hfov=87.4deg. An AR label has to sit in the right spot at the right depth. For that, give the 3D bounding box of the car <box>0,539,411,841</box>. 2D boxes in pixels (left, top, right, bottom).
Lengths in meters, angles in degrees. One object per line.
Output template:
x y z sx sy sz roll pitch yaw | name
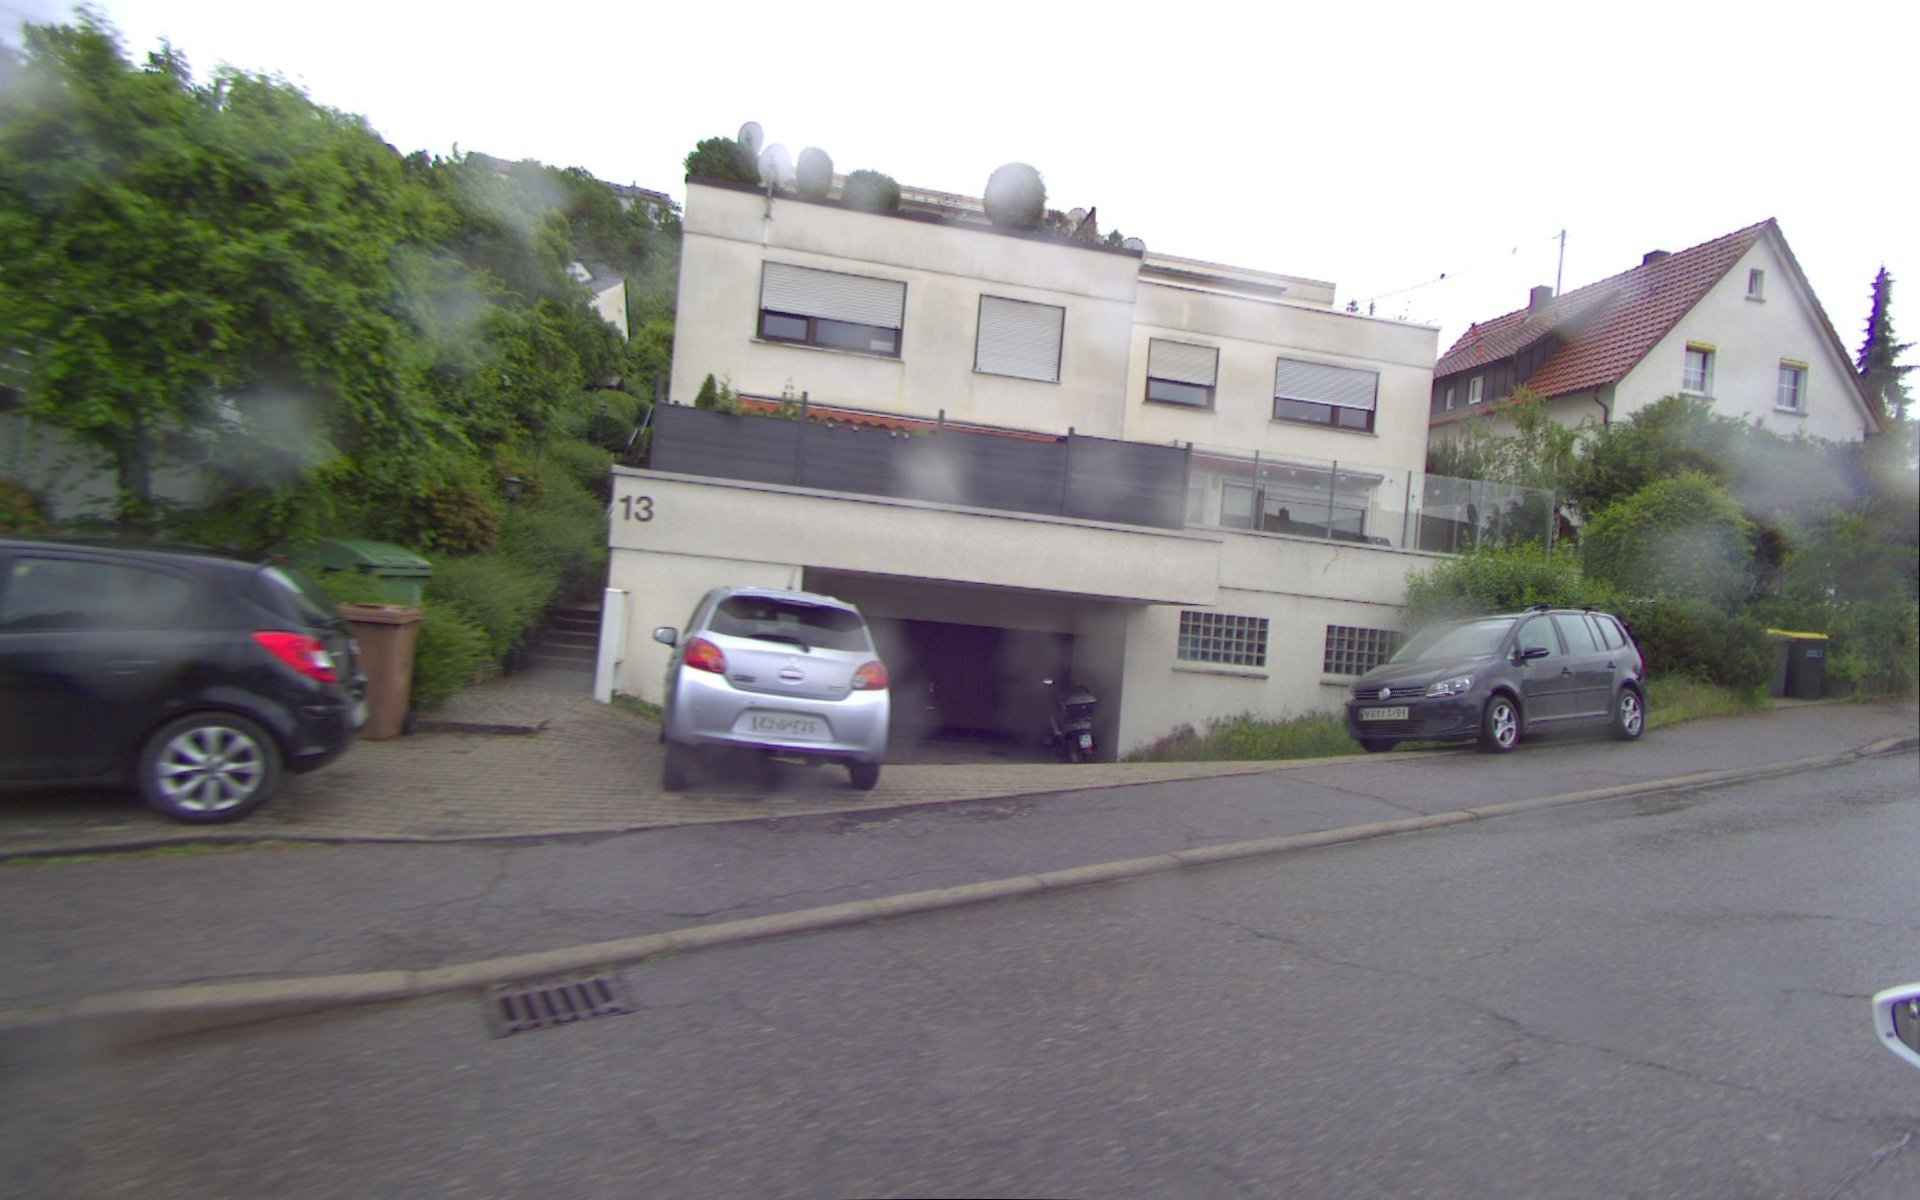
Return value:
-5.419 0.389 5.375 4.190 1.395 1.760 2 3 -25 | car

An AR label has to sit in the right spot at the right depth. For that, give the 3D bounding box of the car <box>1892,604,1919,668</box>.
31.080 1.126 29.498 2.106 1.970 5.086 1 -1 -15 | car

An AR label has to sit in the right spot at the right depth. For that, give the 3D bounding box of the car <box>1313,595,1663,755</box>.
6.426 0.821 12.089 4.369 1.618 1.793 2 -1 -32 | car

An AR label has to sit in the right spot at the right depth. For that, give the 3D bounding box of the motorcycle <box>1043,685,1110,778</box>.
1.859 2.089 16.308 0.633 1.268 1.891 1 0 -7 | motorcycle

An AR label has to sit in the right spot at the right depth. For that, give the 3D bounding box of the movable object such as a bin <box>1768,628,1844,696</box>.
14.254 1.034 16.931 0.697 1.097 0.698 1 0 -12 | movable object such as a bin

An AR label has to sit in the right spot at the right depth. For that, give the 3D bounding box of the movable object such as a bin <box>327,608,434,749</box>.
-4.678 0.614 8.143 0.547 1.092 0.653 1 -1 -11 | movable object such as a bin

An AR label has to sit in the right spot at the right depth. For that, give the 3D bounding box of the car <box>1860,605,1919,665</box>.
28.352 1.090 28.285 1.862 1.660 4.054 3 1 -15 | car

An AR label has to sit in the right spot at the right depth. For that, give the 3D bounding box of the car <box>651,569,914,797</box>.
-1.716 0.763 8.724 1.774 1.496 3.829 2 -6 -17 | car

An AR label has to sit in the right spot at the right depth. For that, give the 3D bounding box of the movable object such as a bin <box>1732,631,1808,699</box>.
13.544 1.080 16.798 0.697 1.097 0.698 1 0 -12 | movable object such as a bin

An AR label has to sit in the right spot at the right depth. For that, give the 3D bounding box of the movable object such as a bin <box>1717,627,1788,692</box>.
13.999 1.040 17.750 0.697 1.097 0.698 1 0 -12 | movable object such as a bin

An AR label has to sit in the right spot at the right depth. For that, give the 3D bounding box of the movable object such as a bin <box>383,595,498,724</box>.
-4.584 0.512 8.918 0.689 1.092 0.771 1 -1 -11 | movable object such as a bin

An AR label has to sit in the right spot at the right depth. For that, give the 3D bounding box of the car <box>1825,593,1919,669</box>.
24.440 0.864 24.919 1.864 1.715 4.050 2 3 -18 | car
